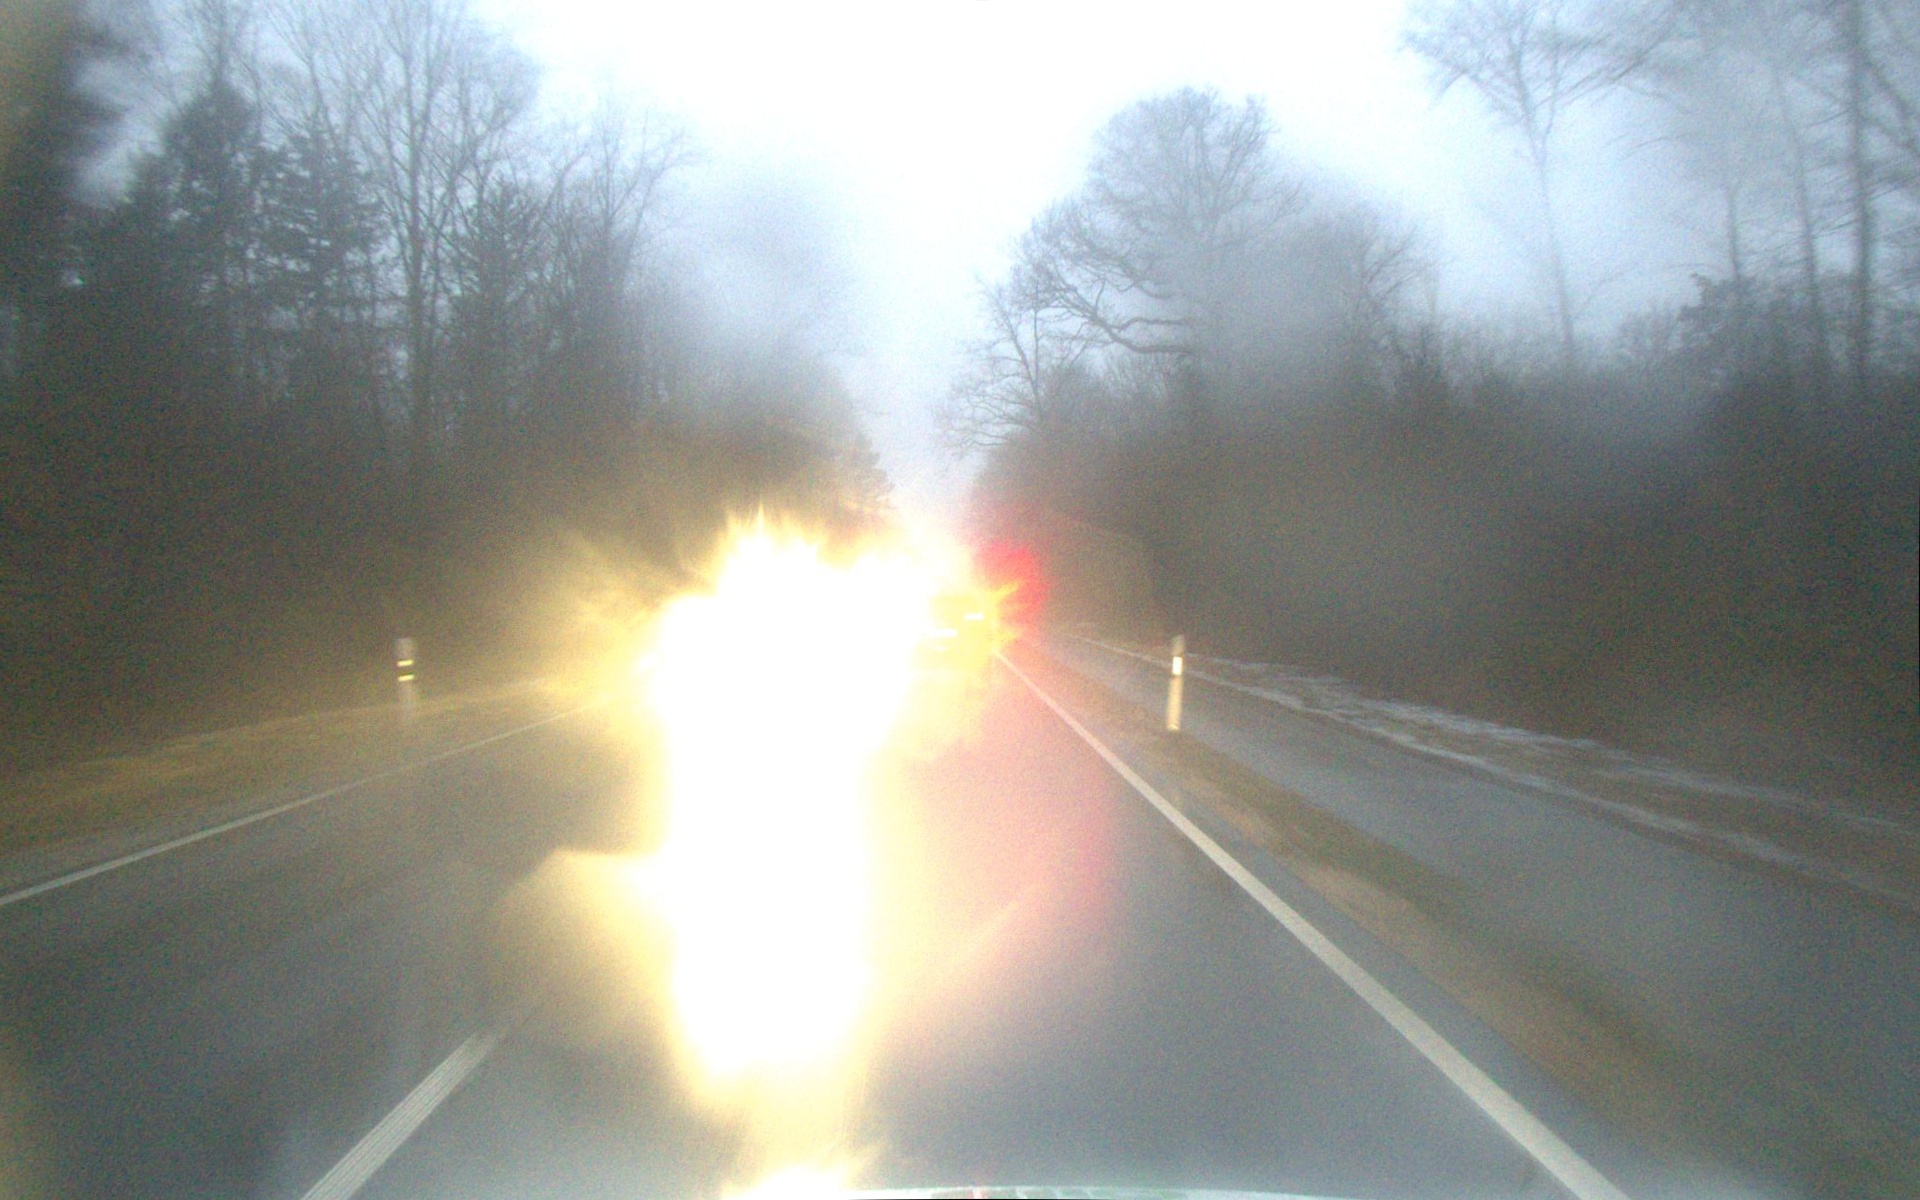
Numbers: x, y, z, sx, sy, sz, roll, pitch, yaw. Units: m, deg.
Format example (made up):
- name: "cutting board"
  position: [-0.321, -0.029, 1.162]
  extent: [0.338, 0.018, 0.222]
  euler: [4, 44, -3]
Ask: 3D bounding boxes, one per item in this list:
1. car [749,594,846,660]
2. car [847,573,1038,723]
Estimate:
- name: "car"
  position: [-4.192, 0.665, 43.381]
  extent: [1.934, 1.595, 4.928]
  euler: [-1, 0, 1]
- name: "car"
  position: [-0.280, 0.814, 30.646]
  extent: [3.118, 2.428, 6.636]
  euler: [1, 0, 0]
